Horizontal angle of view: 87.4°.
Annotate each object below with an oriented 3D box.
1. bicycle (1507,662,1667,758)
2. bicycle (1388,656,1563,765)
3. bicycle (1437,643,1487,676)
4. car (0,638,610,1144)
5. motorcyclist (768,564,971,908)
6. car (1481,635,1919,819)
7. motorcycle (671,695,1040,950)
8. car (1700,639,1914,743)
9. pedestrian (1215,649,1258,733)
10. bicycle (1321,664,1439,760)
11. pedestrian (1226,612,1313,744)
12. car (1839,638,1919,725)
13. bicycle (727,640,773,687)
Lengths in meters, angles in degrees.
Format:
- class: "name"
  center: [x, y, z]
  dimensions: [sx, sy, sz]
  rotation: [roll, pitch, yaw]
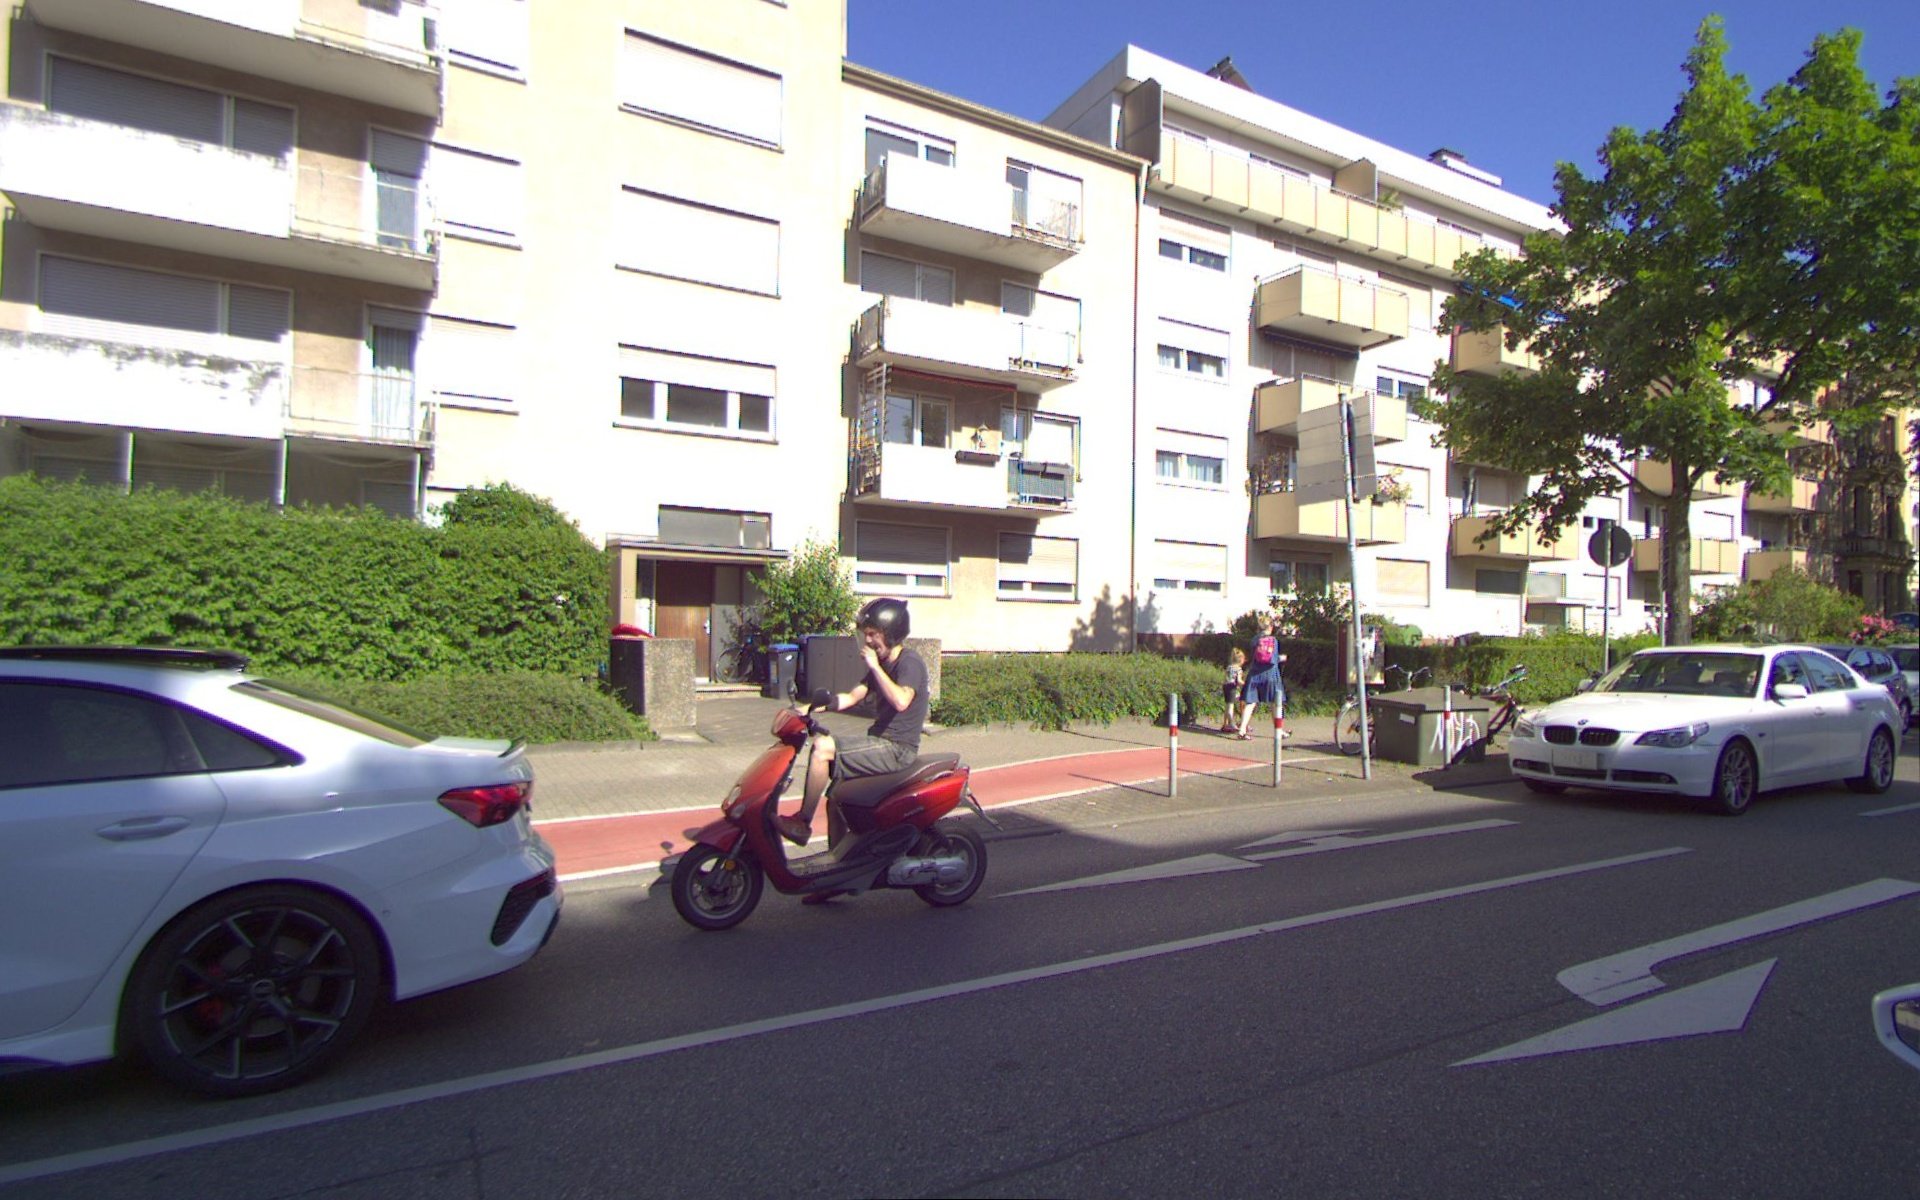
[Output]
- class: "bicycle"
  center: [8.652, 1.480, 13.947]
  dimensions: [0.553, 1.101, 1.818]
  rotation: [2, 1, -29]
- class: "bicycle"
  center: [6.444, 1.342, 12.668]
  dimensions: [0.513, 1.178, 1.956]
  rotation: [1, 0, -33]
- class: "bicycle"
  center: [14.803, 1.739, 29.624]
  dimensions: [1.635, 0.953, 0.479]
  rotation: [2, -3, -30]
- class: "car"
  center: [-3.630, 0.855, 3.302]
  dimensions: [4.453, 1.424, 1.690]
  rotation: [2, -4, -30]
- class: "motorcyclist"
  center: [-0.502, 0.687, 5.414]
  dimensions: [0.905, 1.668, 0.727]
  rotation: [1, -4, -24]
- class: "car"
  center: [7.551, 1.139, 10.089]
  dimensions: [4.720, 1.484, 1.806]
  rotation: [2, -4, -29]
- class: "motorcycle"
  center: [-0.515, 1.100, 5.335]
  dimensions: [1.906, 1.136, 0.446]
  rotation: [1, -4, -26]
- class: "car"
  center: [14.019, 1.423, 16.588]
  dimensions: [3.850, 1.495, 1.497]
  rotation: [1, -1, -30]
- class: "pedestrian"
  center: [3.992, 1.302, 14.502]
  dimensions: [0.484, 1.176, 0.333]
  rotation: [1, 0, -30]
- class: "bicycle"
  center: [5.206, 1.356, 12.423]
  dimensions: [1.687, 1.093, 0.424]
  rotation: [2, -2, -31]
- class: "pedestrian"
  center: [4.195, 1.032, 13.626]
  dimensions: [0.919, 1.709, 0.666]
  rotation: [1, 0, -30]
- class: "car"
  center: [18.411, 1.501, 19.092]
  dimensions: [3.639, 1.509, 1.395]
  rotation: [1, -1, -28]
- class: "bicycle"
  center: [-3.876, 1.168, 18.531]
  dimensions: [0.849, 0.829, 0.309]
  rotation: [0, -1, 35]
